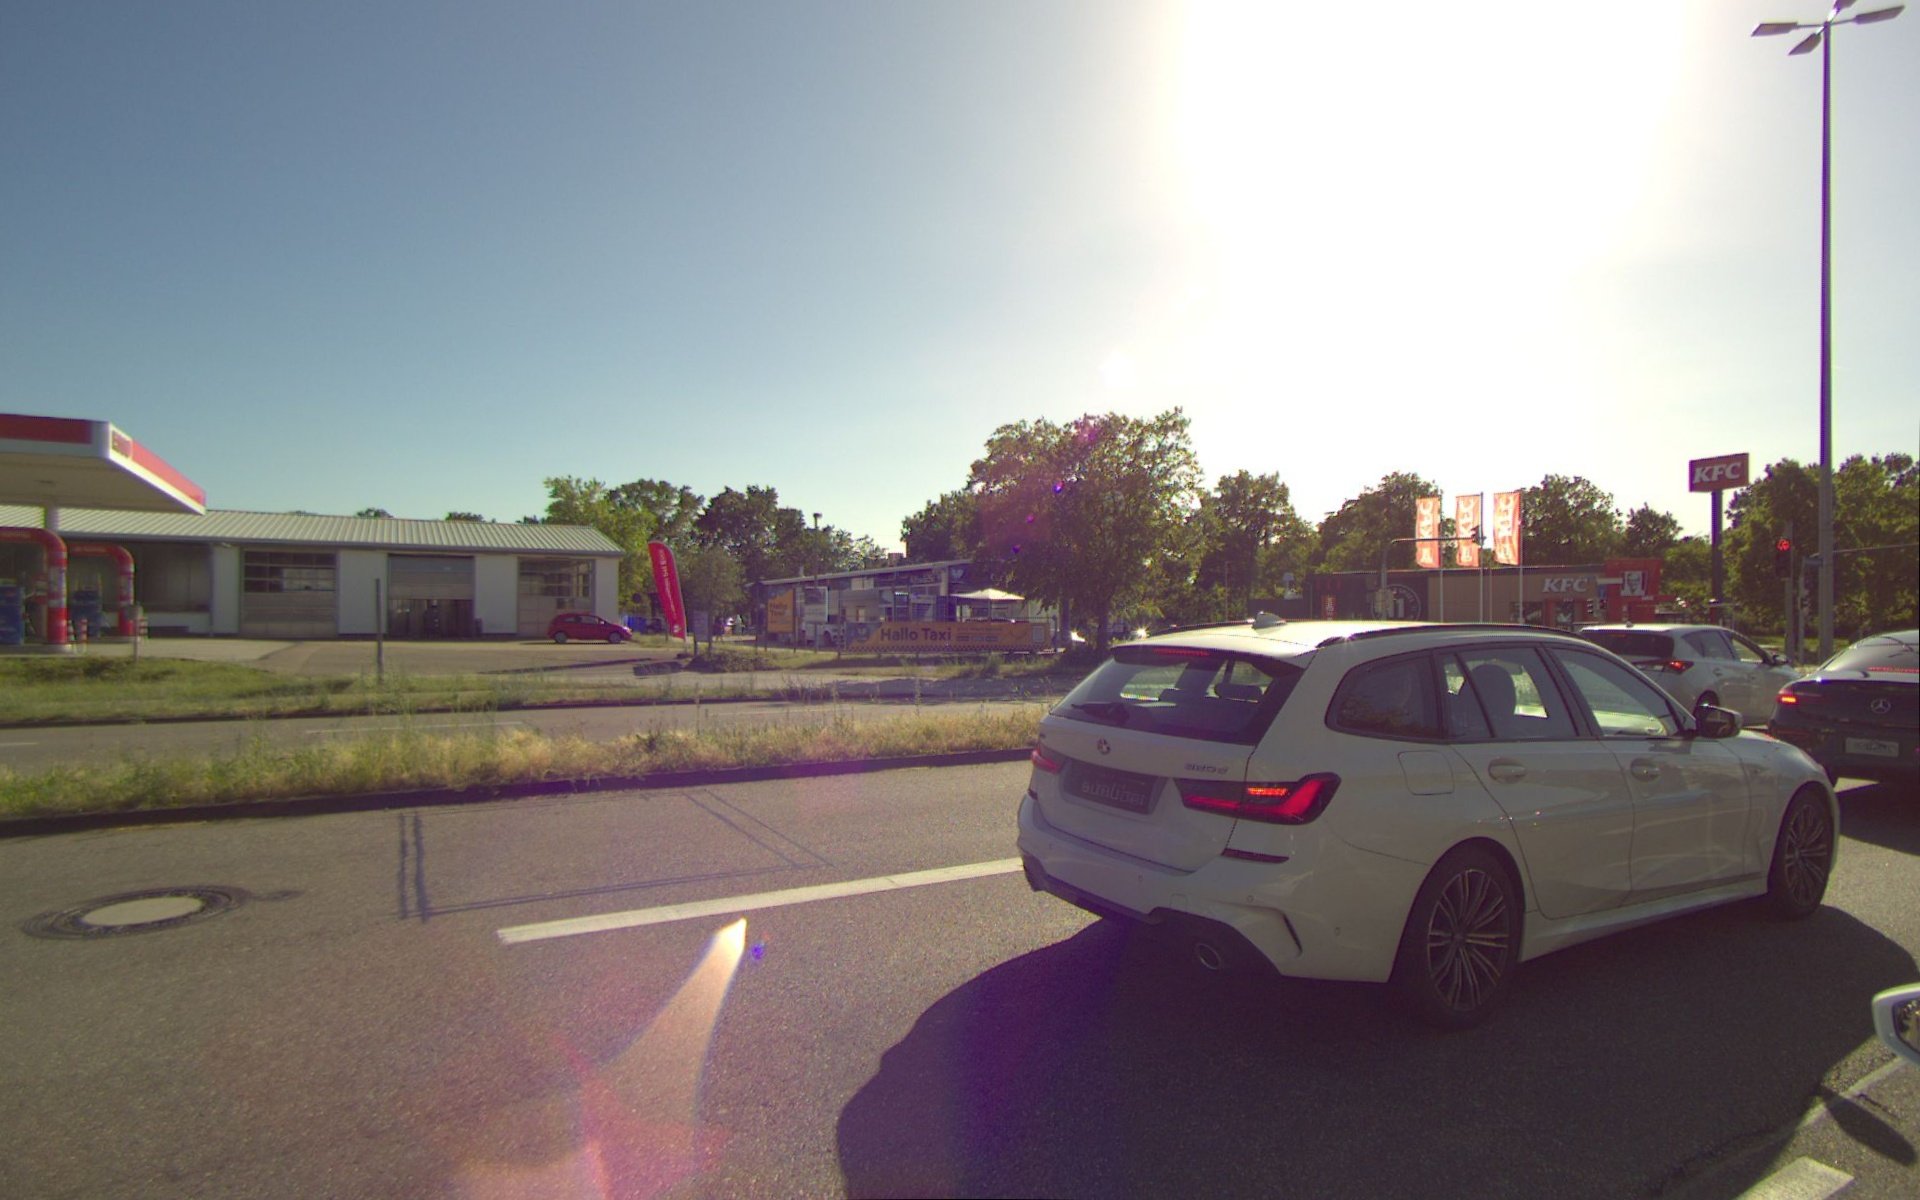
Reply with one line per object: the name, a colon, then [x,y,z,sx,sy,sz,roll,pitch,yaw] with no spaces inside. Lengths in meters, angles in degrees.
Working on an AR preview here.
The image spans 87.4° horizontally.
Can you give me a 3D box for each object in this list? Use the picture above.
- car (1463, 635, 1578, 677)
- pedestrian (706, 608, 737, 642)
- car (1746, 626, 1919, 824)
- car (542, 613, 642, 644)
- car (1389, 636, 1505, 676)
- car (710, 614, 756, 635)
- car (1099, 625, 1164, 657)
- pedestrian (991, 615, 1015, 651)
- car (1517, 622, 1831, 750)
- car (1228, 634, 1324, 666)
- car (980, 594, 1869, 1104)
car: [24.085,2.355,43.281,1.804,1.616,4.015,1,-1,-32]
pedestrian: [-12.566,1.325,52.952,1.140,1.787,1.096,0,-1,36]
car: [8.805,0.959,8.623,4.409,1.433,1.760,1,-1,-30]
car: [-18.128,1.415,49.495,4.486,1.458,1.741,1,-1,-26]
car: [19.702,2.223,40.811,1.800,1.448,4.024,1,-1,-26]
car: [-19.928,2.134,88.255,2.085,1.840,4.000,0,-1,20]
car: [10.260,2.422,60.198,1.738,1.751,3.969,1,-1,-29]
pedestrian: [2.234,1.724,52.387,0.812,1.828,0.941,1,-1,-43]
car: [9.643,1.046,13.495,4.352,1.448,1.848,1,-1,-30]
car: [15.860,2.468,50.642,1.840,1.448,4.701,1,-1,-28]
car: [2.426,0.791,4.902,4.409,1.529,1.760,1,-1,-30]
